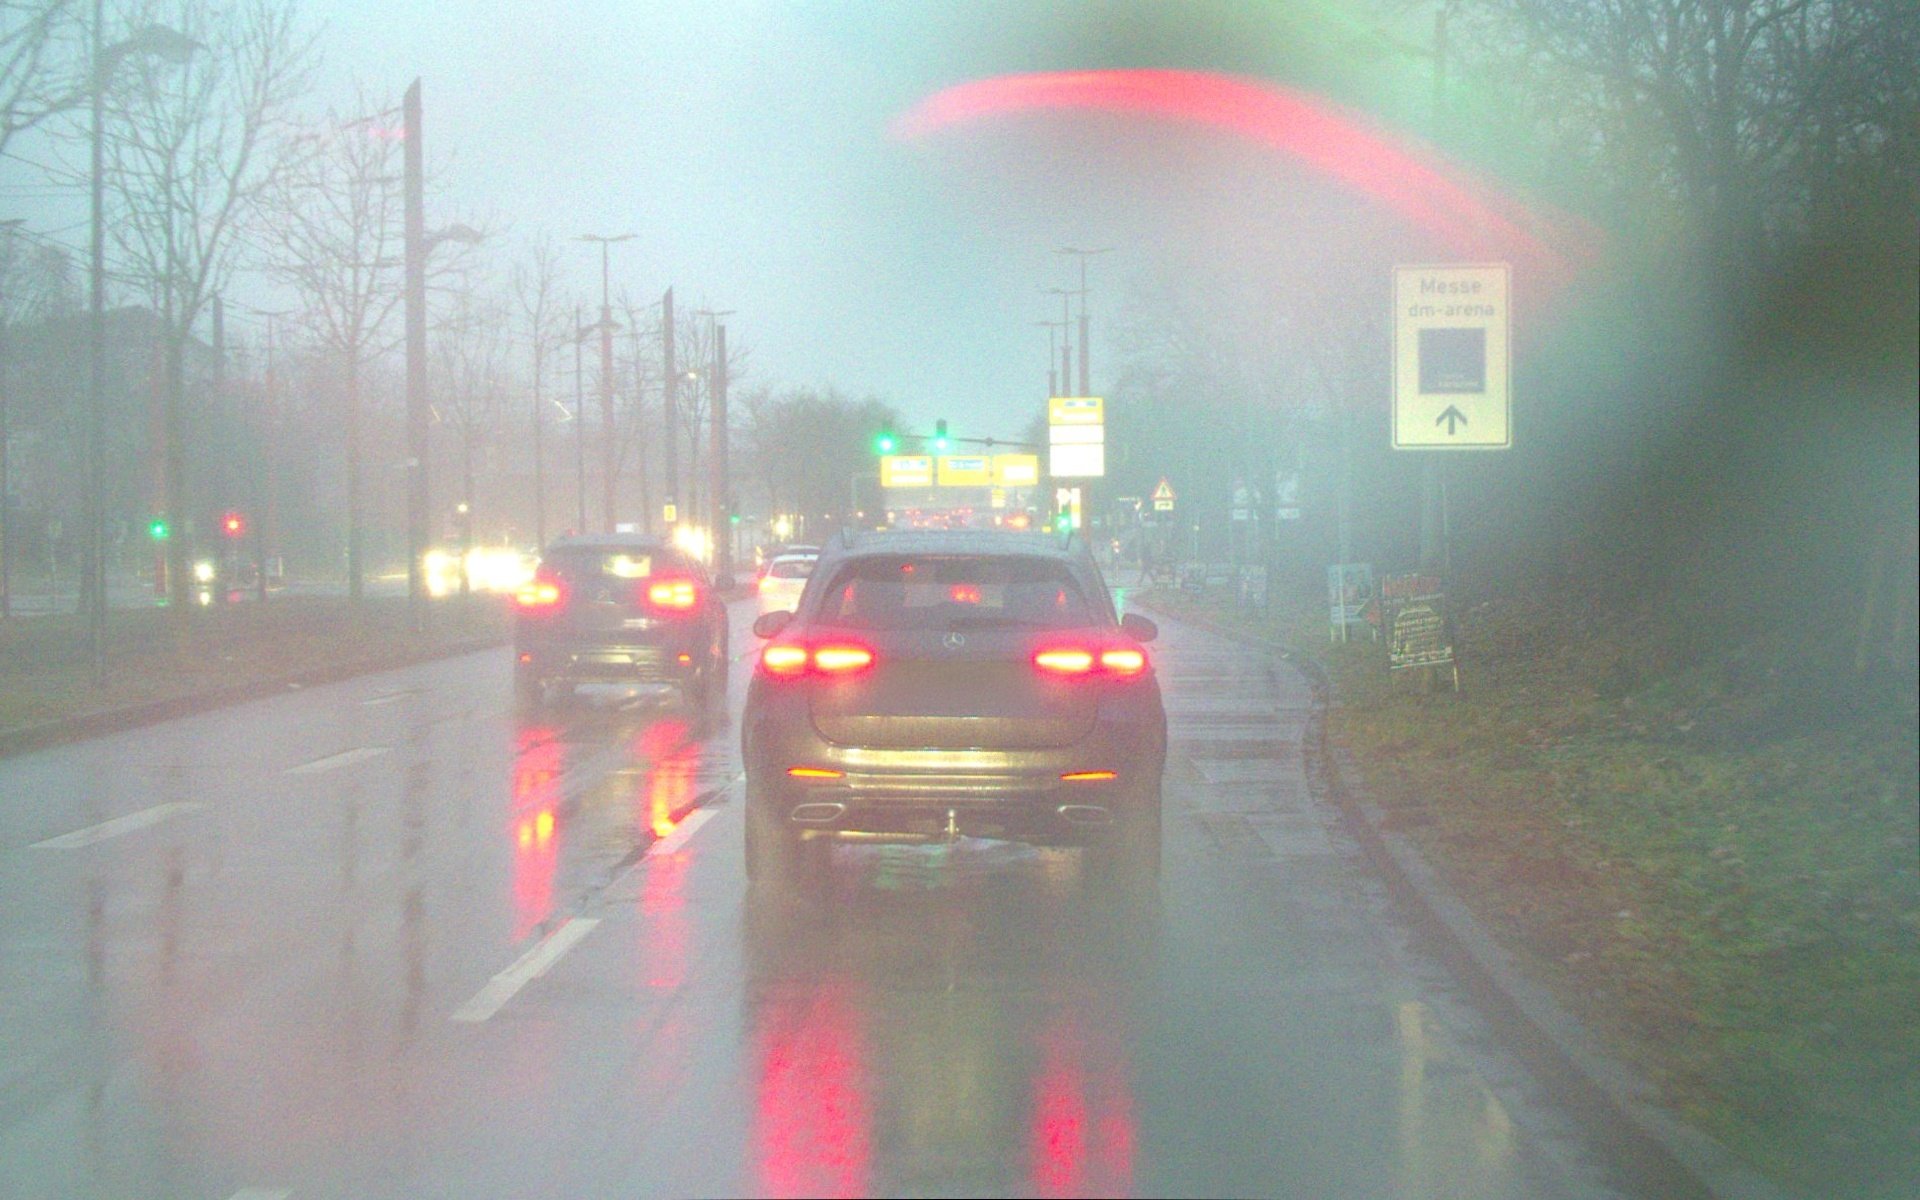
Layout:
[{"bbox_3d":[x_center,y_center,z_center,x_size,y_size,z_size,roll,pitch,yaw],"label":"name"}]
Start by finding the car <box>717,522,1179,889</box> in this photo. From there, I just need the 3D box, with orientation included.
[{"bbox_3d":[-0.055,0.422,16.964,1.998,1.578,4.000,1,1,0],"label":"car"}]

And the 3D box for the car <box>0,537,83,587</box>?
[{"bbox_3d":[-31.842,-1.297,118.772,1.993,1.652,4.000,1,0,0],"label":"car"}]

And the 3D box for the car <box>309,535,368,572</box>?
[{"bbox_3d":[-29.146,-2.156,161.203,1.993,1.652,4.000,1,0,0],"label":"car"}]

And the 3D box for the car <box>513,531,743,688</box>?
[{"bbox_3d":[-3.236,0.048,34.185,1.880,1.454,4.000,0,1,0],"label":"car"}]

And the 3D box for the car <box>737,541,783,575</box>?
[{"bbox_3d":[-9.921,-2.072,170.806,1.993,1.660,3.836,0,1,0],"label":"car"}]

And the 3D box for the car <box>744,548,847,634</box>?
[{"bbox_3d":[-3.017,-0.193,63.814,1.708,1.552,3.996,0,1,0],"label":"car"}]
